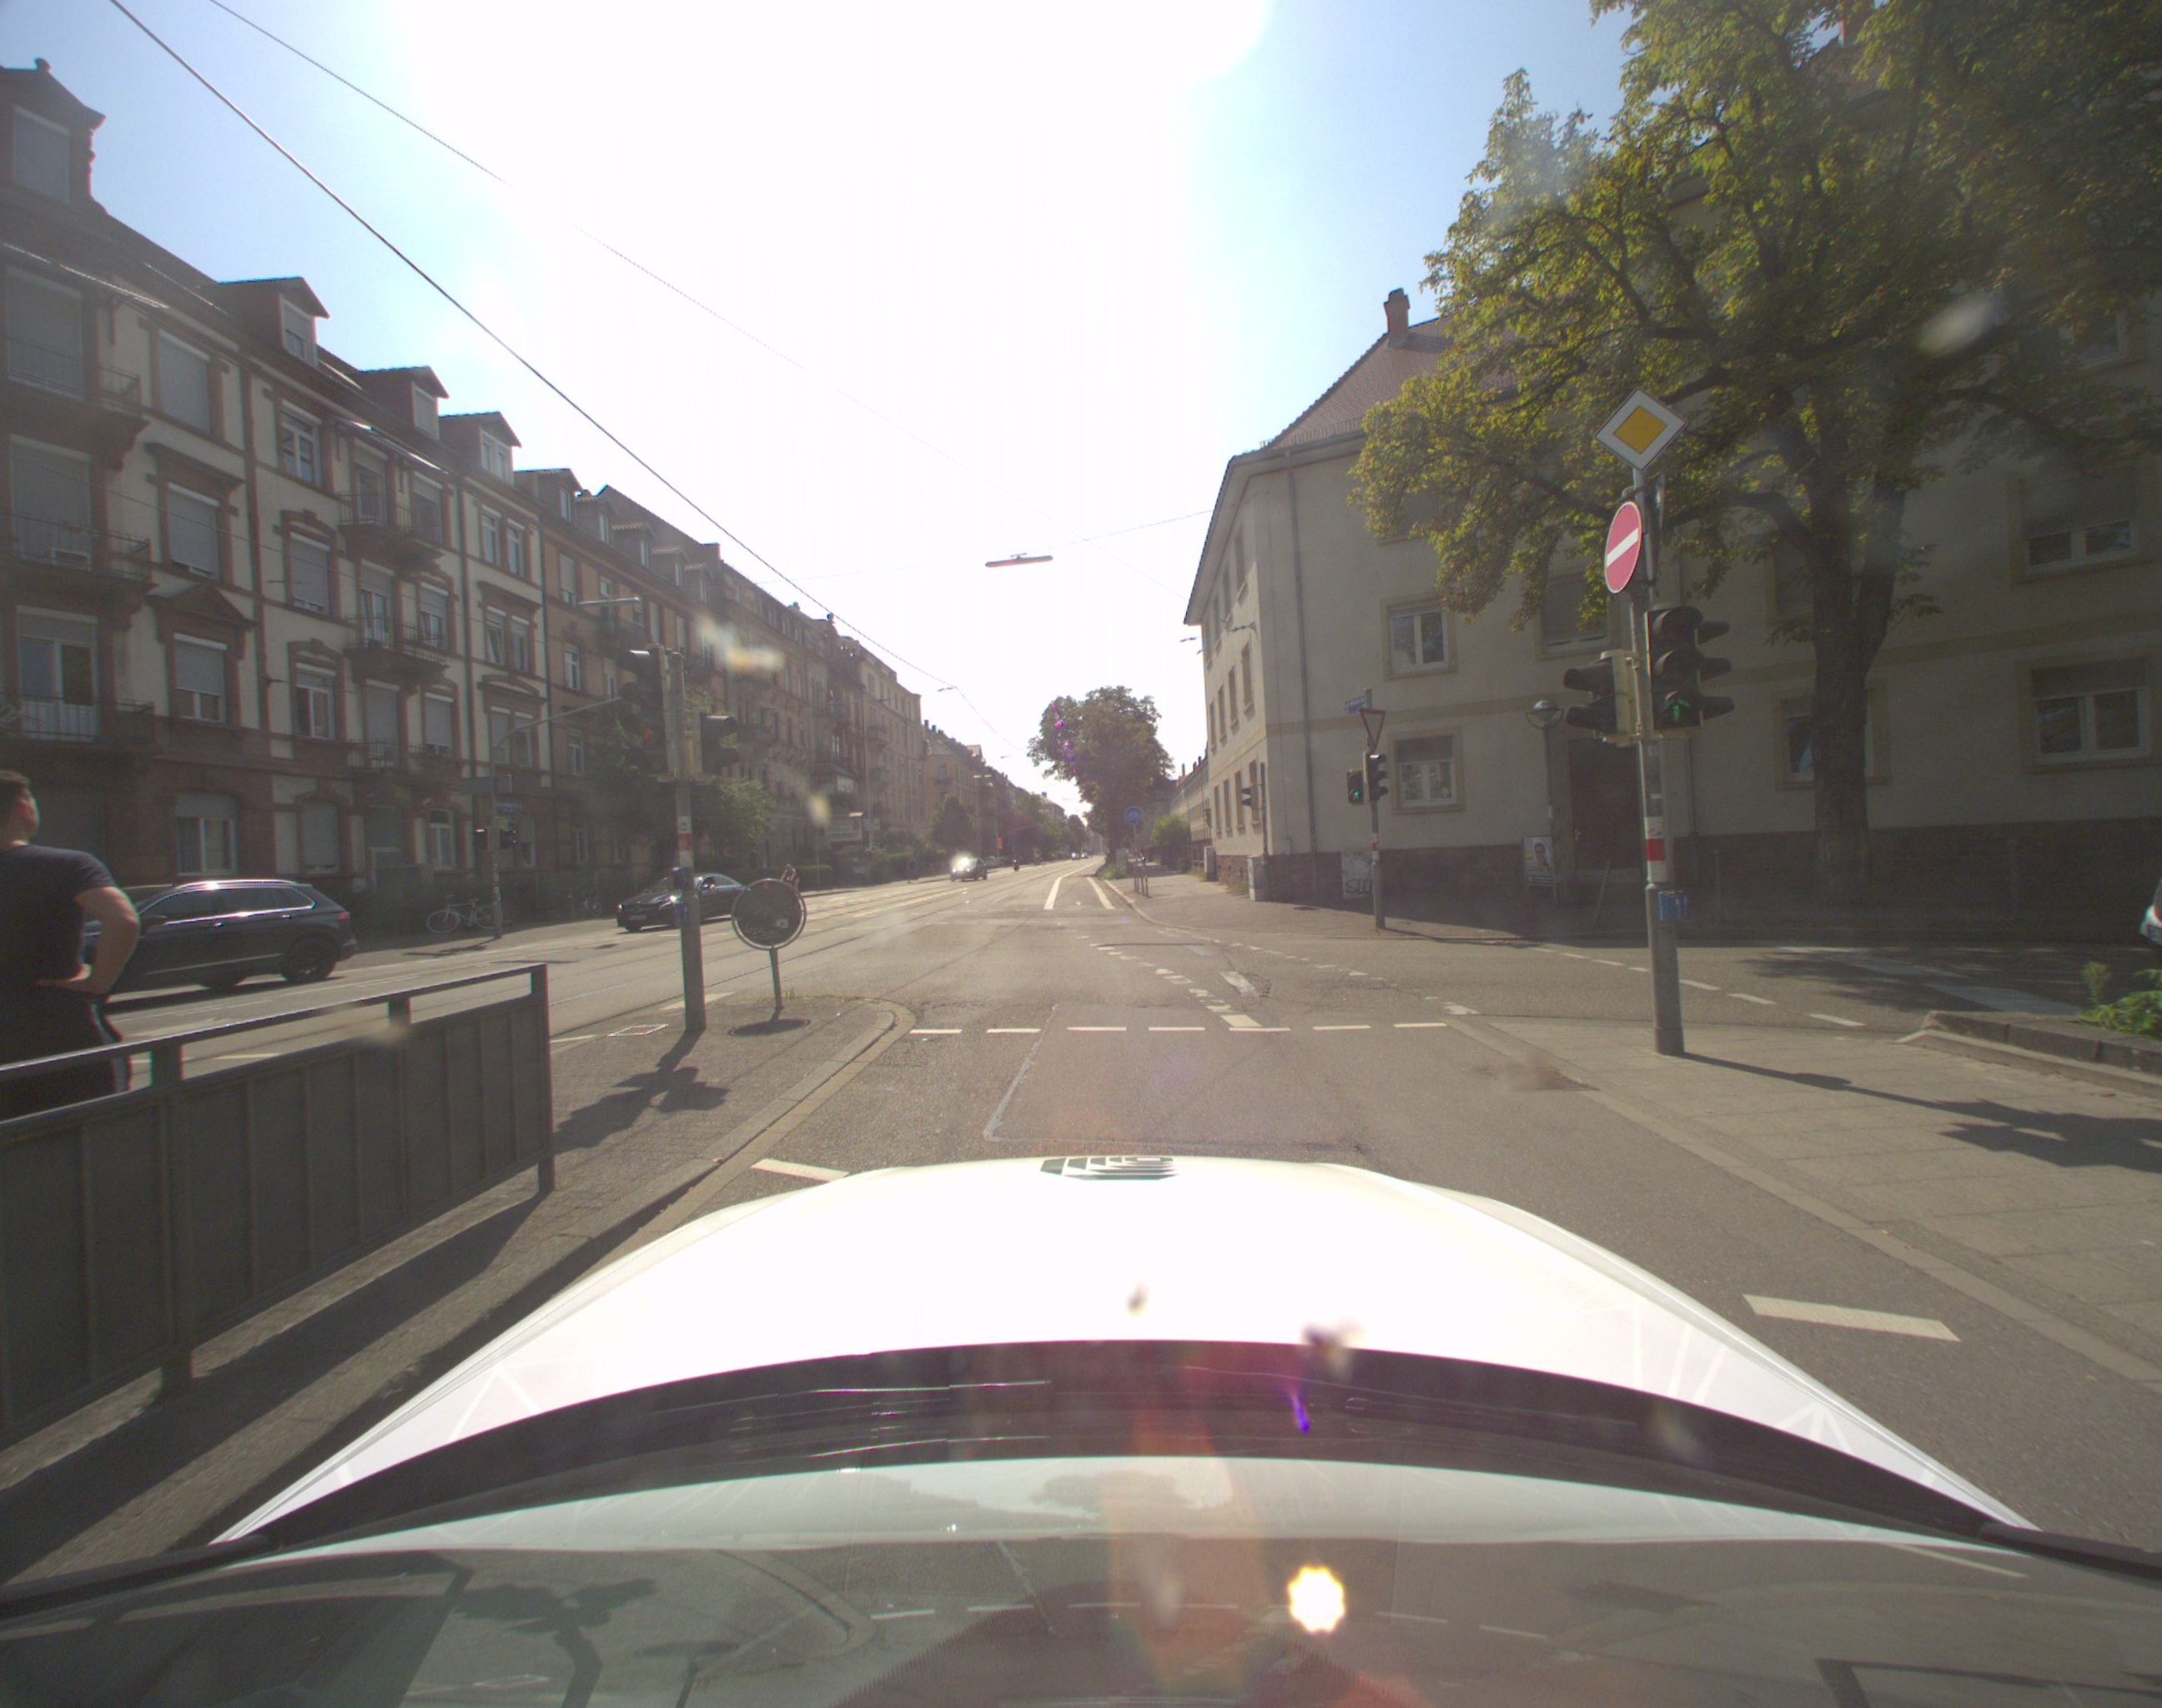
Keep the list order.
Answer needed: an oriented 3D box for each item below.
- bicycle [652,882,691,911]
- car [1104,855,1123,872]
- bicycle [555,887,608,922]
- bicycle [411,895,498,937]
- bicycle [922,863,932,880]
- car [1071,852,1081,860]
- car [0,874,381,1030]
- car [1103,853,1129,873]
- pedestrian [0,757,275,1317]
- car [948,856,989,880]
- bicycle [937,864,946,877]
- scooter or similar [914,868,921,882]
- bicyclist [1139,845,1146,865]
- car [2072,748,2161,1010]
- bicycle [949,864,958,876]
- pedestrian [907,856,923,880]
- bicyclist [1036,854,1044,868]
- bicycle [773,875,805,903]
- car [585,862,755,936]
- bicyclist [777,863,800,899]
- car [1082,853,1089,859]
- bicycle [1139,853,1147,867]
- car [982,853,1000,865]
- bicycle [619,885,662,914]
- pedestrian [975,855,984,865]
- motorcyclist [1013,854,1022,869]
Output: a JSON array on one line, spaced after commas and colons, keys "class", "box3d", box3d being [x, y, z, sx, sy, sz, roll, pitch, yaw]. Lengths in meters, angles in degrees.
[{"class": "bicycle", "box3d": [-15.808, 1.622, 31.443, 0.485, 0.986, 1.659, -3, 0, 6]}, {"class": "car", "box3d": [2.996, 0.857, 75.255, 1.610, 1.477, 4.042, -4, 0, 3]}, {"class": "bicycle", "box3d": [-16.443, 1.653, 26.858, 0.485, 1.021, 1.781, -3, 0, 6]}, {"class": "bicycle", "box3d": [-17.526, 1.721, 22.818, 0.482, 0.997, 1.841, -3, 0, 40]}, {"class": "bicycle", "box3d": [-12.941, 1.446, 68.620, 0.388, 1.406, 1.583, -3, 0, 4]}, {"class": "car", "box3d": [-1.143, 0.470, 184.762, 1.820, 1.540, 4.002, -3, 0, 2]}, {"class": "car", "box3d": [-13.154, 1.242, 11.598, 1.984, 1.648, 4.638, -4, 0, 6]}, {"class": "car", "box3d": [2.910, 0.700, 67.444, 1.607, 1.530, 3.508, -4, -1, 9]}, {"class": "pedestrian", "box3d": [-3.802, 0.620, 3.060, 0.926, 1.885, 0.668, -3, 0, -34]}, {"class": "car", "box3d": [-7.371, 0.900, 53.792, 1.718, 1.433, 4.184, 1, 1, 6]}, {"class": "bicycle", "box3d": [-12.508, 1.498, 73.176, 0.388, 1.147, 1.583, -3, 0, 4]}, {"class": "scooter or similar", "box3d": [-12.059, 1.546, 60.141, 0.399, 0.982, 0.583, -1, -1, -5]}, {"class": "bicyclist", "box3d": [4.663, 0.063, 61.468, 0.436, 1.512, 0.472, -3, -1, -1]}, {"class": "car", "box3d": [9.610, 0.075, 4.850, 4.359, 1.812, 1.816, -3, 0, 39]}, {"class": "bicycle", "box3d": [-12.309, 1.539, 78.722, 0.388, 1.038, 1.835, -3, 0, 4]}, {"class": "pedestrian", "box3d": [-12.370, 1.046, 60.746, 0.880, 1.756, 0.871, -3, 0, 2]}, {"class": "bicyclist", "box3d": [-5.502, 0.943, 108.775, 0.951, 1.837, 1.127, -3, -1, -5]}, {"class": "bicycle", "box3d": [-12.345, 1.462, 34.513, 0.578, 1.066, 1.844, -3, 0, 2]}, {"class": "car", "box3d": [-11.168, 1.141, 22.596, 1.984, 1.648, 4.636, -4, 0, 4]}, {"class": "bicyclist", "box3d": [-12.367, 1.136, 34.443, 0.578, 1.470, 0.776, -3, 0, 2]}, {"class": "car", "box3d": [1.137, 0.420, 217.534, 1.725, 1.490, 4.002, -3, 0, 2]}, {"class": "bicycle", "box3d": [4.682, 0.461, 61.412, 0.439, 1.047, 1.828, -3, 0, -1]}, {"class": "car", "box3d": [-12.379, 0.713, 111.878, 1.988, 1.594, 4.357, -3, 0, -1]}, {"class": "bicycle", "box3d": [-16.051, 1.659, 29.732, 0.485, 0.941, 1.659, -3, 0, 6]}, {"class": "pedestrian", "box3d": [-14.810, 0.890, 118.708, 0.888, 1.511, 0.862, -3, -1, -29]}, {"class": "motorcyclist", "box3d": [-6.368, 0.733, 81.641, 0.686, 1.511, 0.773, -3, 0, 3]}]
